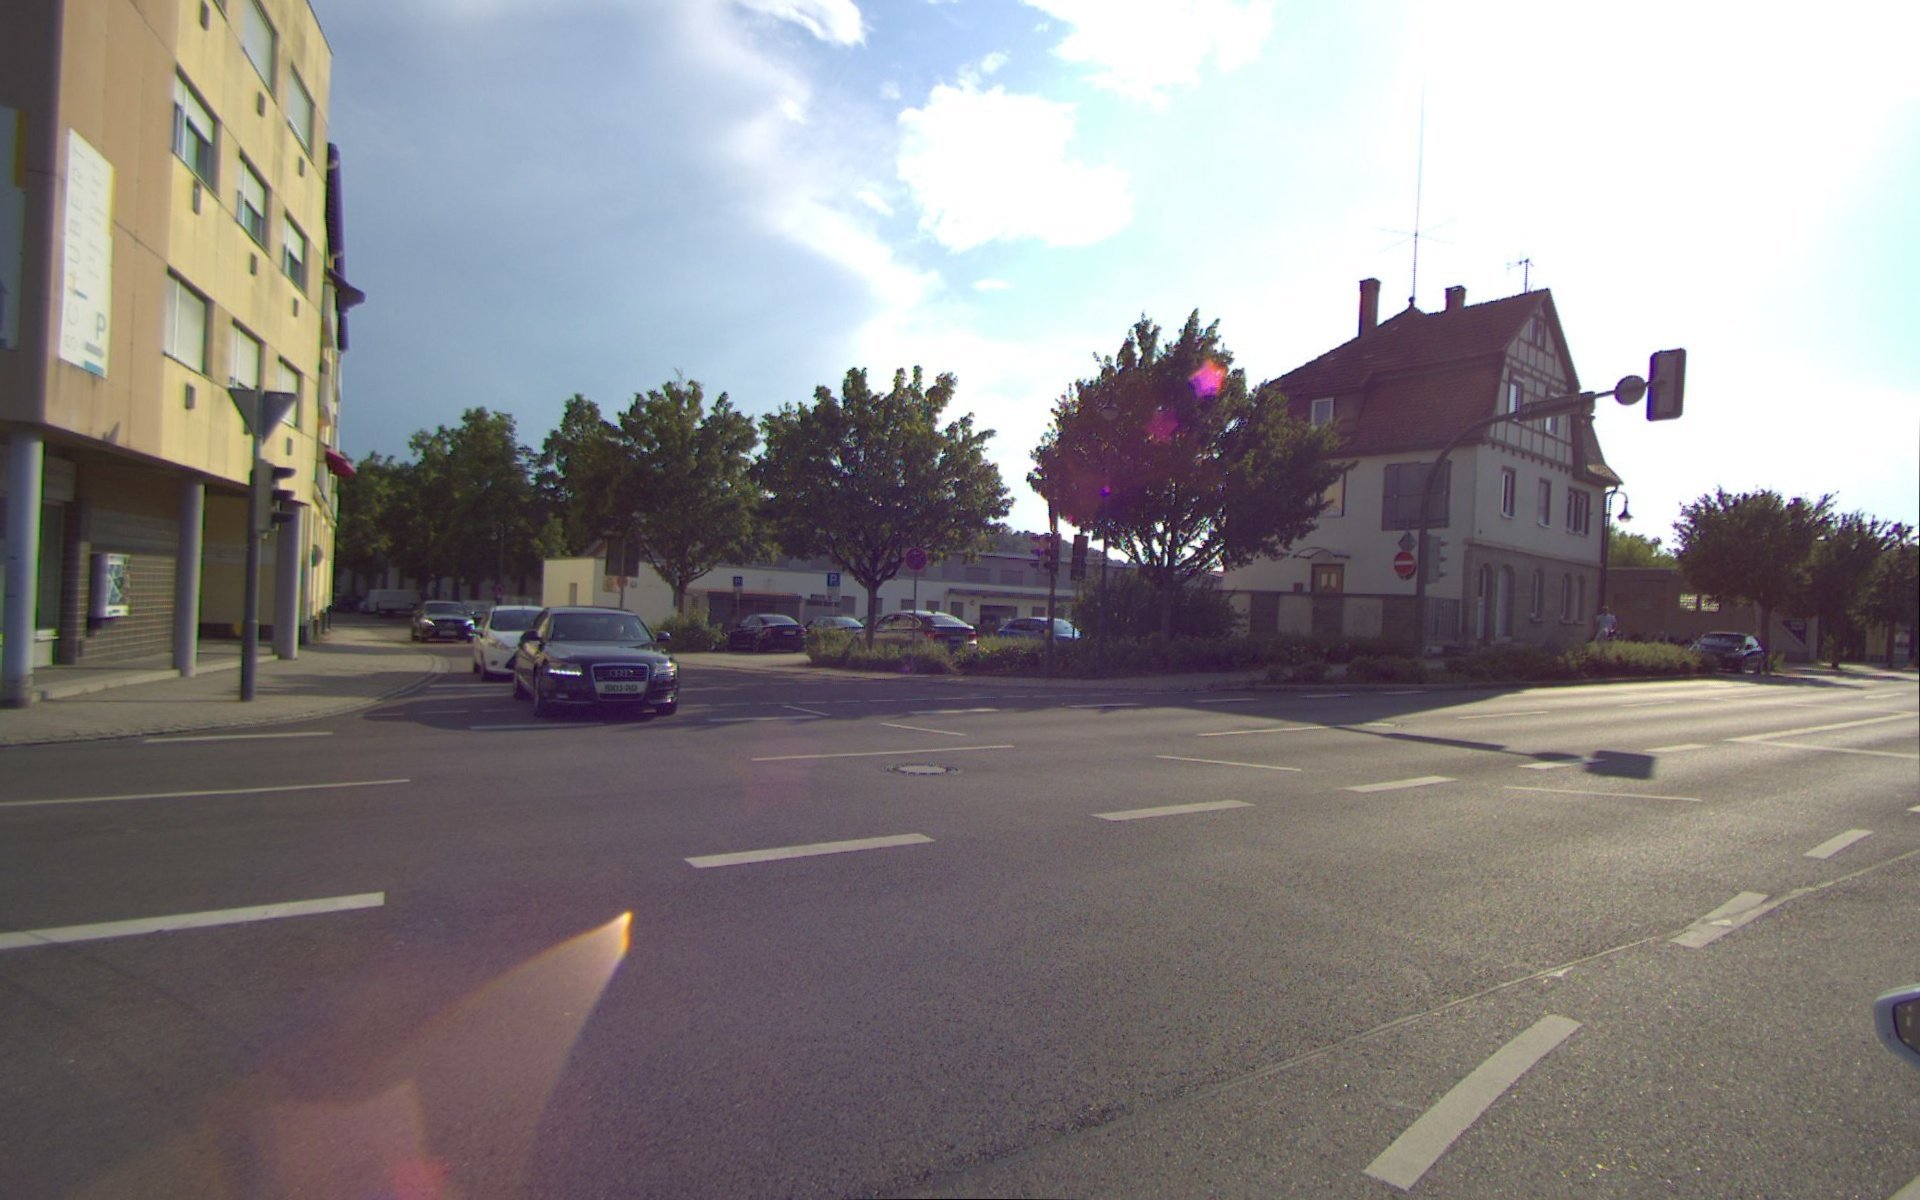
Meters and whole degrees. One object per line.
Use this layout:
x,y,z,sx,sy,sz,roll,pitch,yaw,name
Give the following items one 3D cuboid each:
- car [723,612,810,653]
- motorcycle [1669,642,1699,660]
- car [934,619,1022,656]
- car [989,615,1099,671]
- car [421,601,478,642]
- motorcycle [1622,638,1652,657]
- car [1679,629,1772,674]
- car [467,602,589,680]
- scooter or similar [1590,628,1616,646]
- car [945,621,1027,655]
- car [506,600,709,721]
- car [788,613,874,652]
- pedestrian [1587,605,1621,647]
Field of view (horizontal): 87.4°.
-7.392,1.222,38.250,1.734,1.418,3.616,3,-2,-39,car
43.618,3.050,60.528,1.514,1.018,0.517,2,-1,-7,motorcycle
0.729,1.559,42.083,1.734,1.418,3.616,3,-2,-39,car
2.659,1.355,32.315,1.734,1.660,3.259,3,-2,-39,car
-19.664,0.817,38.628,1.728,1.455,3.563,2,-2,-30,car
42.285,2.967,62.721,1.606,1.083,0.517,2,-1,-6,motorcycle
29.354,1.949,38.494,4.096,1.473,1.742,2,3,-38,car
-9.052,0.822,20.874,1.846,1.455,3.794,2,-2,-30,car
21.855,1.255,34.157,1.035,0.590,0.440,2,-1,-39,scooter or similar
1.145,1.719,45.664,1.732,1.418,3.891,2,-2,-36,car
-5.315,0.785,14.696,1.895,1.455,4.835,2,-2,-30,car
-5.157,1.285,40.009,1.734,1.418,3.616,3,-2,-39,car
22.380,0.902,34.893,0.701,1.412,0.806,2,-1,-39,pedestrian
